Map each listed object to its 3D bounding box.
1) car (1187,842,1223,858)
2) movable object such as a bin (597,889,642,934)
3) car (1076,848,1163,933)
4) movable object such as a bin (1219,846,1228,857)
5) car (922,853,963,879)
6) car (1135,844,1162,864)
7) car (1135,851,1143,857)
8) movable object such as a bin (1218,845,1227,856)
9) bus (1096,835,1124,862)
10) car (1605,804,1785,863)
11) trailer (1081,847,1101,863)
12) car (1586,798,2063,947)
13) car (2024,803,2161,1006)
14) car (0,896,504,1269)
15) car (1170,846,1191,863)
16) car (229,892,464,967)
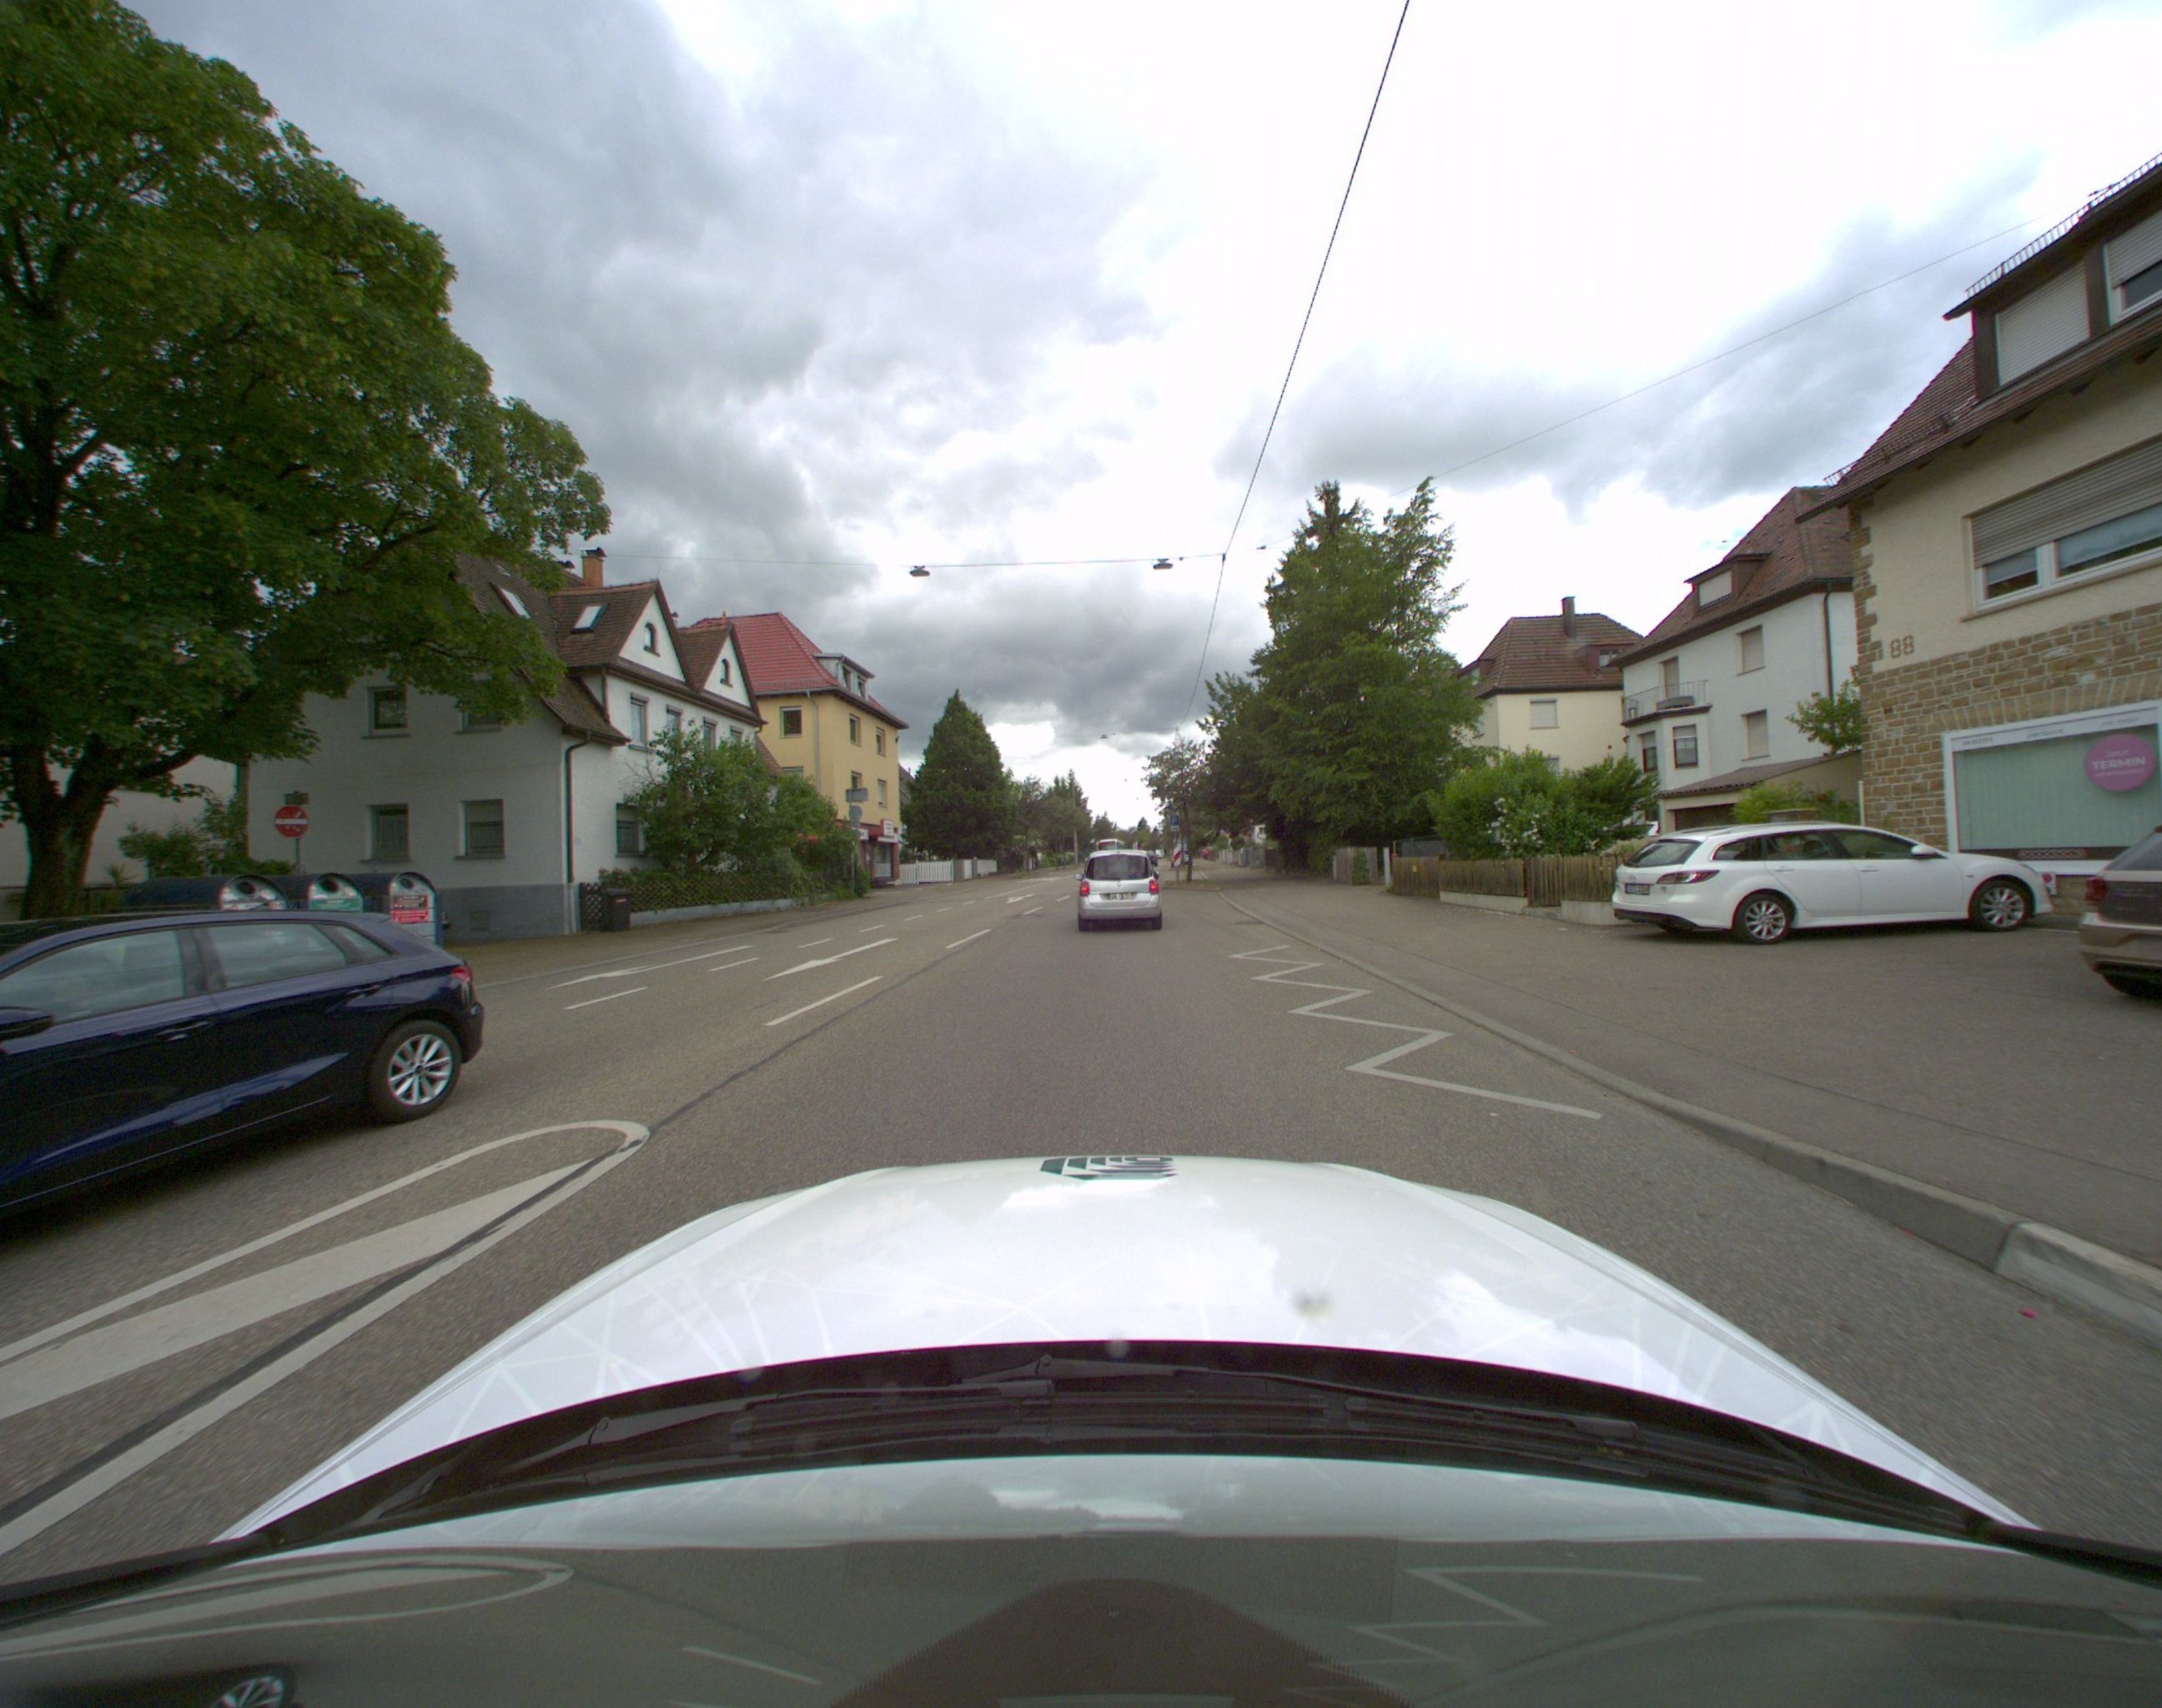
[{"bbox_3d":[15.236,-0.491,100.082,3.978,1.496,1.808,-6,0,-3],"label":"car"},{"bbox_3d":[-11.410,1.413,20.142,0.711,1.019,0.727,1,2,38],"label":"movable object such as a bin"},{"bbox_3d":[0.844,0.716,17.338,1.623,1.557,4.003,-1,-1,3],"label":"car"},{"bbox_3d":[14.773,-0.308,84.542,0.772,1.104,0.692,-3,0,5],"label":"movable object such as a bin"},{"bbox_3d":[-9.737,0.834,57.603,1.799,1.564,4.621,-5,0,2],"label":"car"},{"bbox_3d":[6.045,-0.044,72.972,1.816,1.675,3.587,-3,0,13],"label":"car"},{"bbox_3d":[17.196,0.015,241.480,1.899,1.618,4.001,-2,-1,1],"label":"car"},{"bbox_3d":[14.944,-0.329,86.031,0.772,1.104,0.692,-3,0,5],"label":"movable object such as a bin"},{"bbox_3d":[3.781,-0.680,103.272,2.619,3.086,12.088,-4,0,5],"label":"bus"},{"bbox_3d":[18.727,-0.607,24.967,4.072,1.395,1.833,-3,-6,-3],"label":"car"},{"bbox_3d":[1.370,0.141,108.049,2.301,2.087,5.880,-1,-1,5],"label":"trailer"},{"bbox_3d":[9.543,0.249,10.810,4.400,1.488,1.867,-4,-1,4],"label":"car"},{"bbox_3d":[9.380,0.224,5.604,3.790,1.401,1.640,-4,-1,0],"label":"car"},{"bbox_3d":[-5.158,1.023,3.892,1.556,1.420,4.136,-3,-1,5],"label":"car"},{"bbox_3d":[8.311,0.072,68.017,1.641,1.382,4.007,-2,-1,7],"label":"car"},{"bbox_3d":[-17.095,1.731,19.078,3.970,1.332,1.724,-5,-1,3],"label":"car"}]
